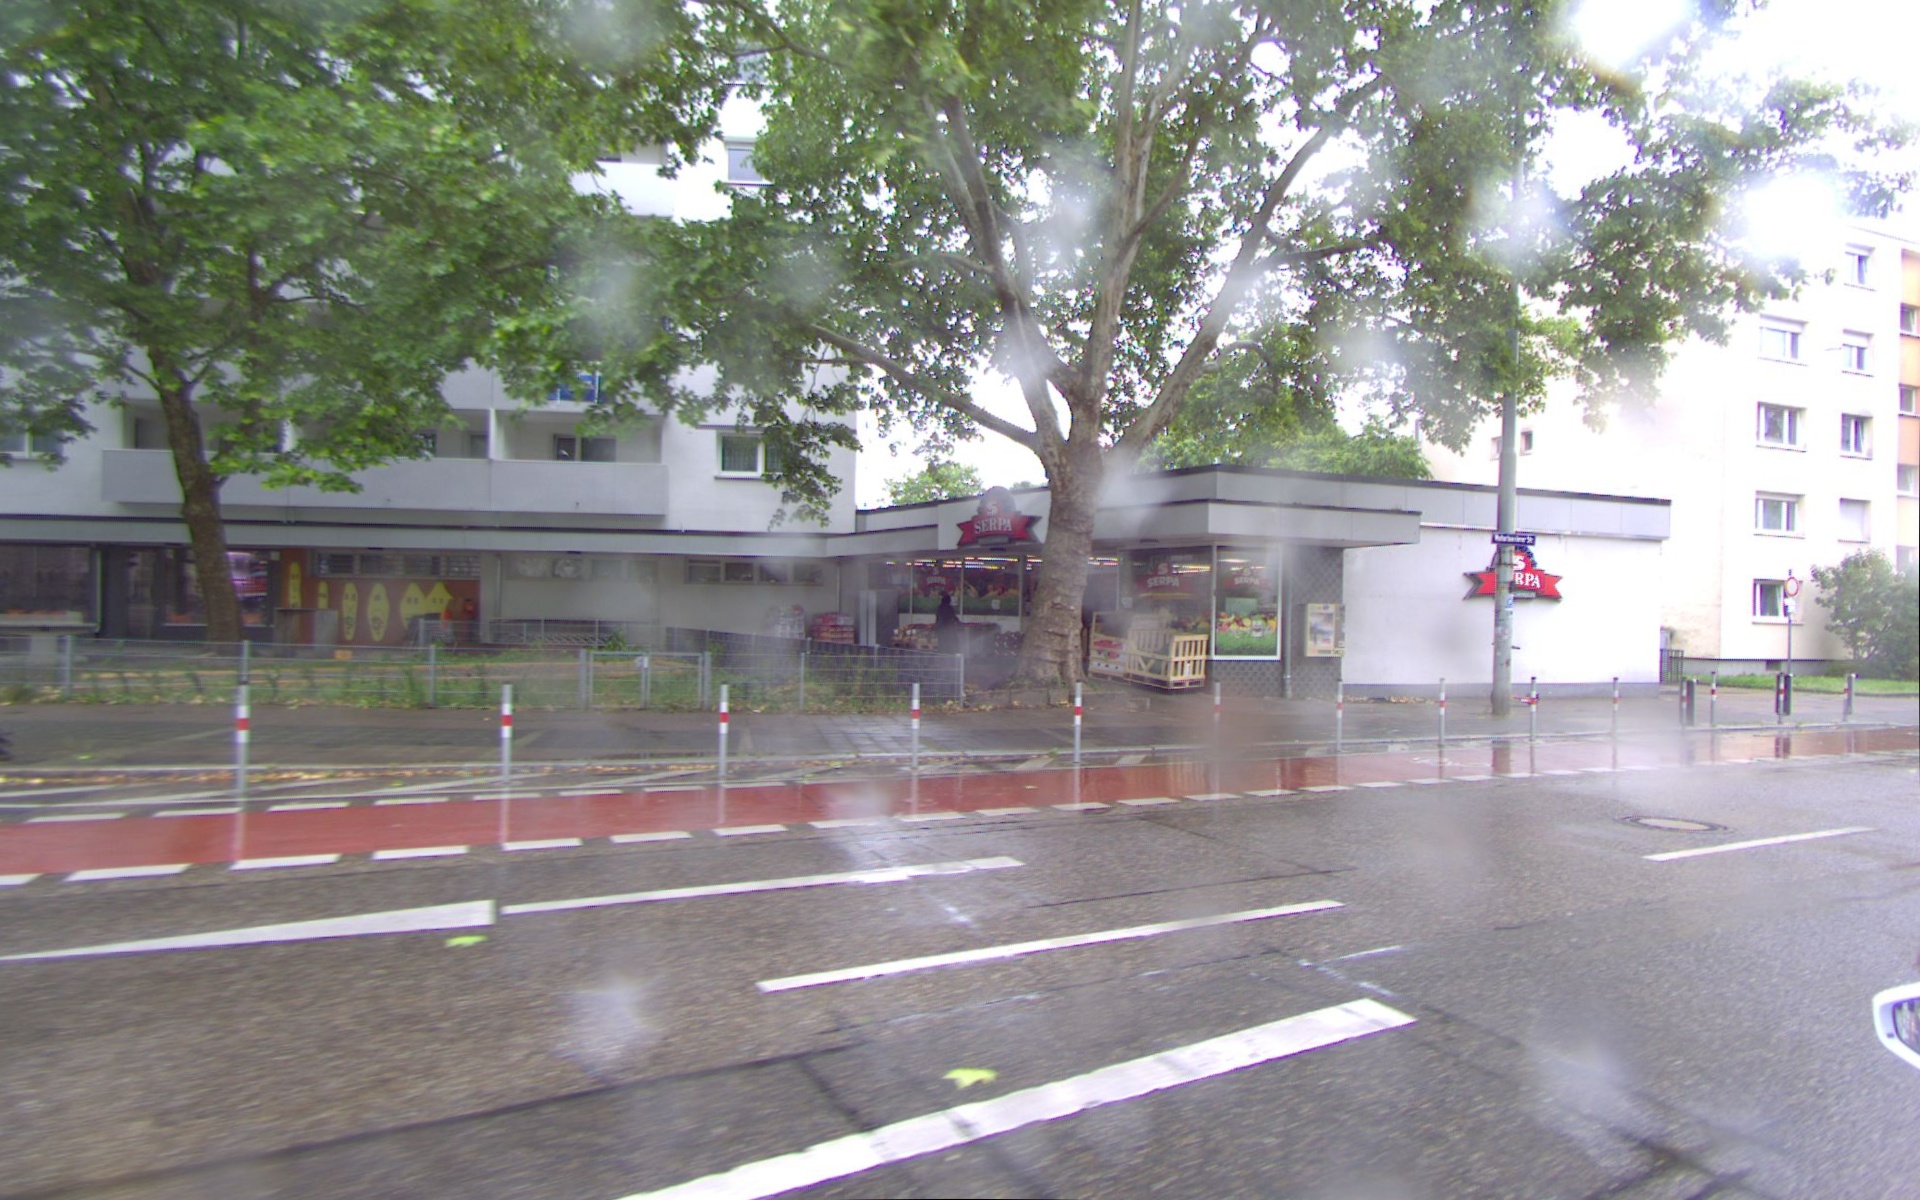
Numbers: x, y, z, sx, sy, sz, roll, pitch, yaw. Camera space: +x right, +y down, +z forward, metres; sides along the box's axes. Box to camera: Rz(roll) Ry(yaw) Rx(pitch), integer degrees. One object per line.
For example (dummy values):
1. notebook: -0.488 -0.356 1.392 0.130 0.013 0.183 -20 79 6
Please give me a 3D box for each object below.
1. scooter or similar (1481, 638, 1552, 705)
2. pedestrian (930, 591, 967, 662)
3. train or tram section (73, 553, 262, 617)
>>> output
1. scooter or similar: 10.984 1.406 19.830 1.355 1.283 0.437 2 -1 -21
2. pedestrian: -0.282 0.631 23.794 0.636 1.650 0.564 2 0 -42
3. train or tram section: -48.432 -0.756 62.089 3.013 3.550 11.573 1 -1 -3
